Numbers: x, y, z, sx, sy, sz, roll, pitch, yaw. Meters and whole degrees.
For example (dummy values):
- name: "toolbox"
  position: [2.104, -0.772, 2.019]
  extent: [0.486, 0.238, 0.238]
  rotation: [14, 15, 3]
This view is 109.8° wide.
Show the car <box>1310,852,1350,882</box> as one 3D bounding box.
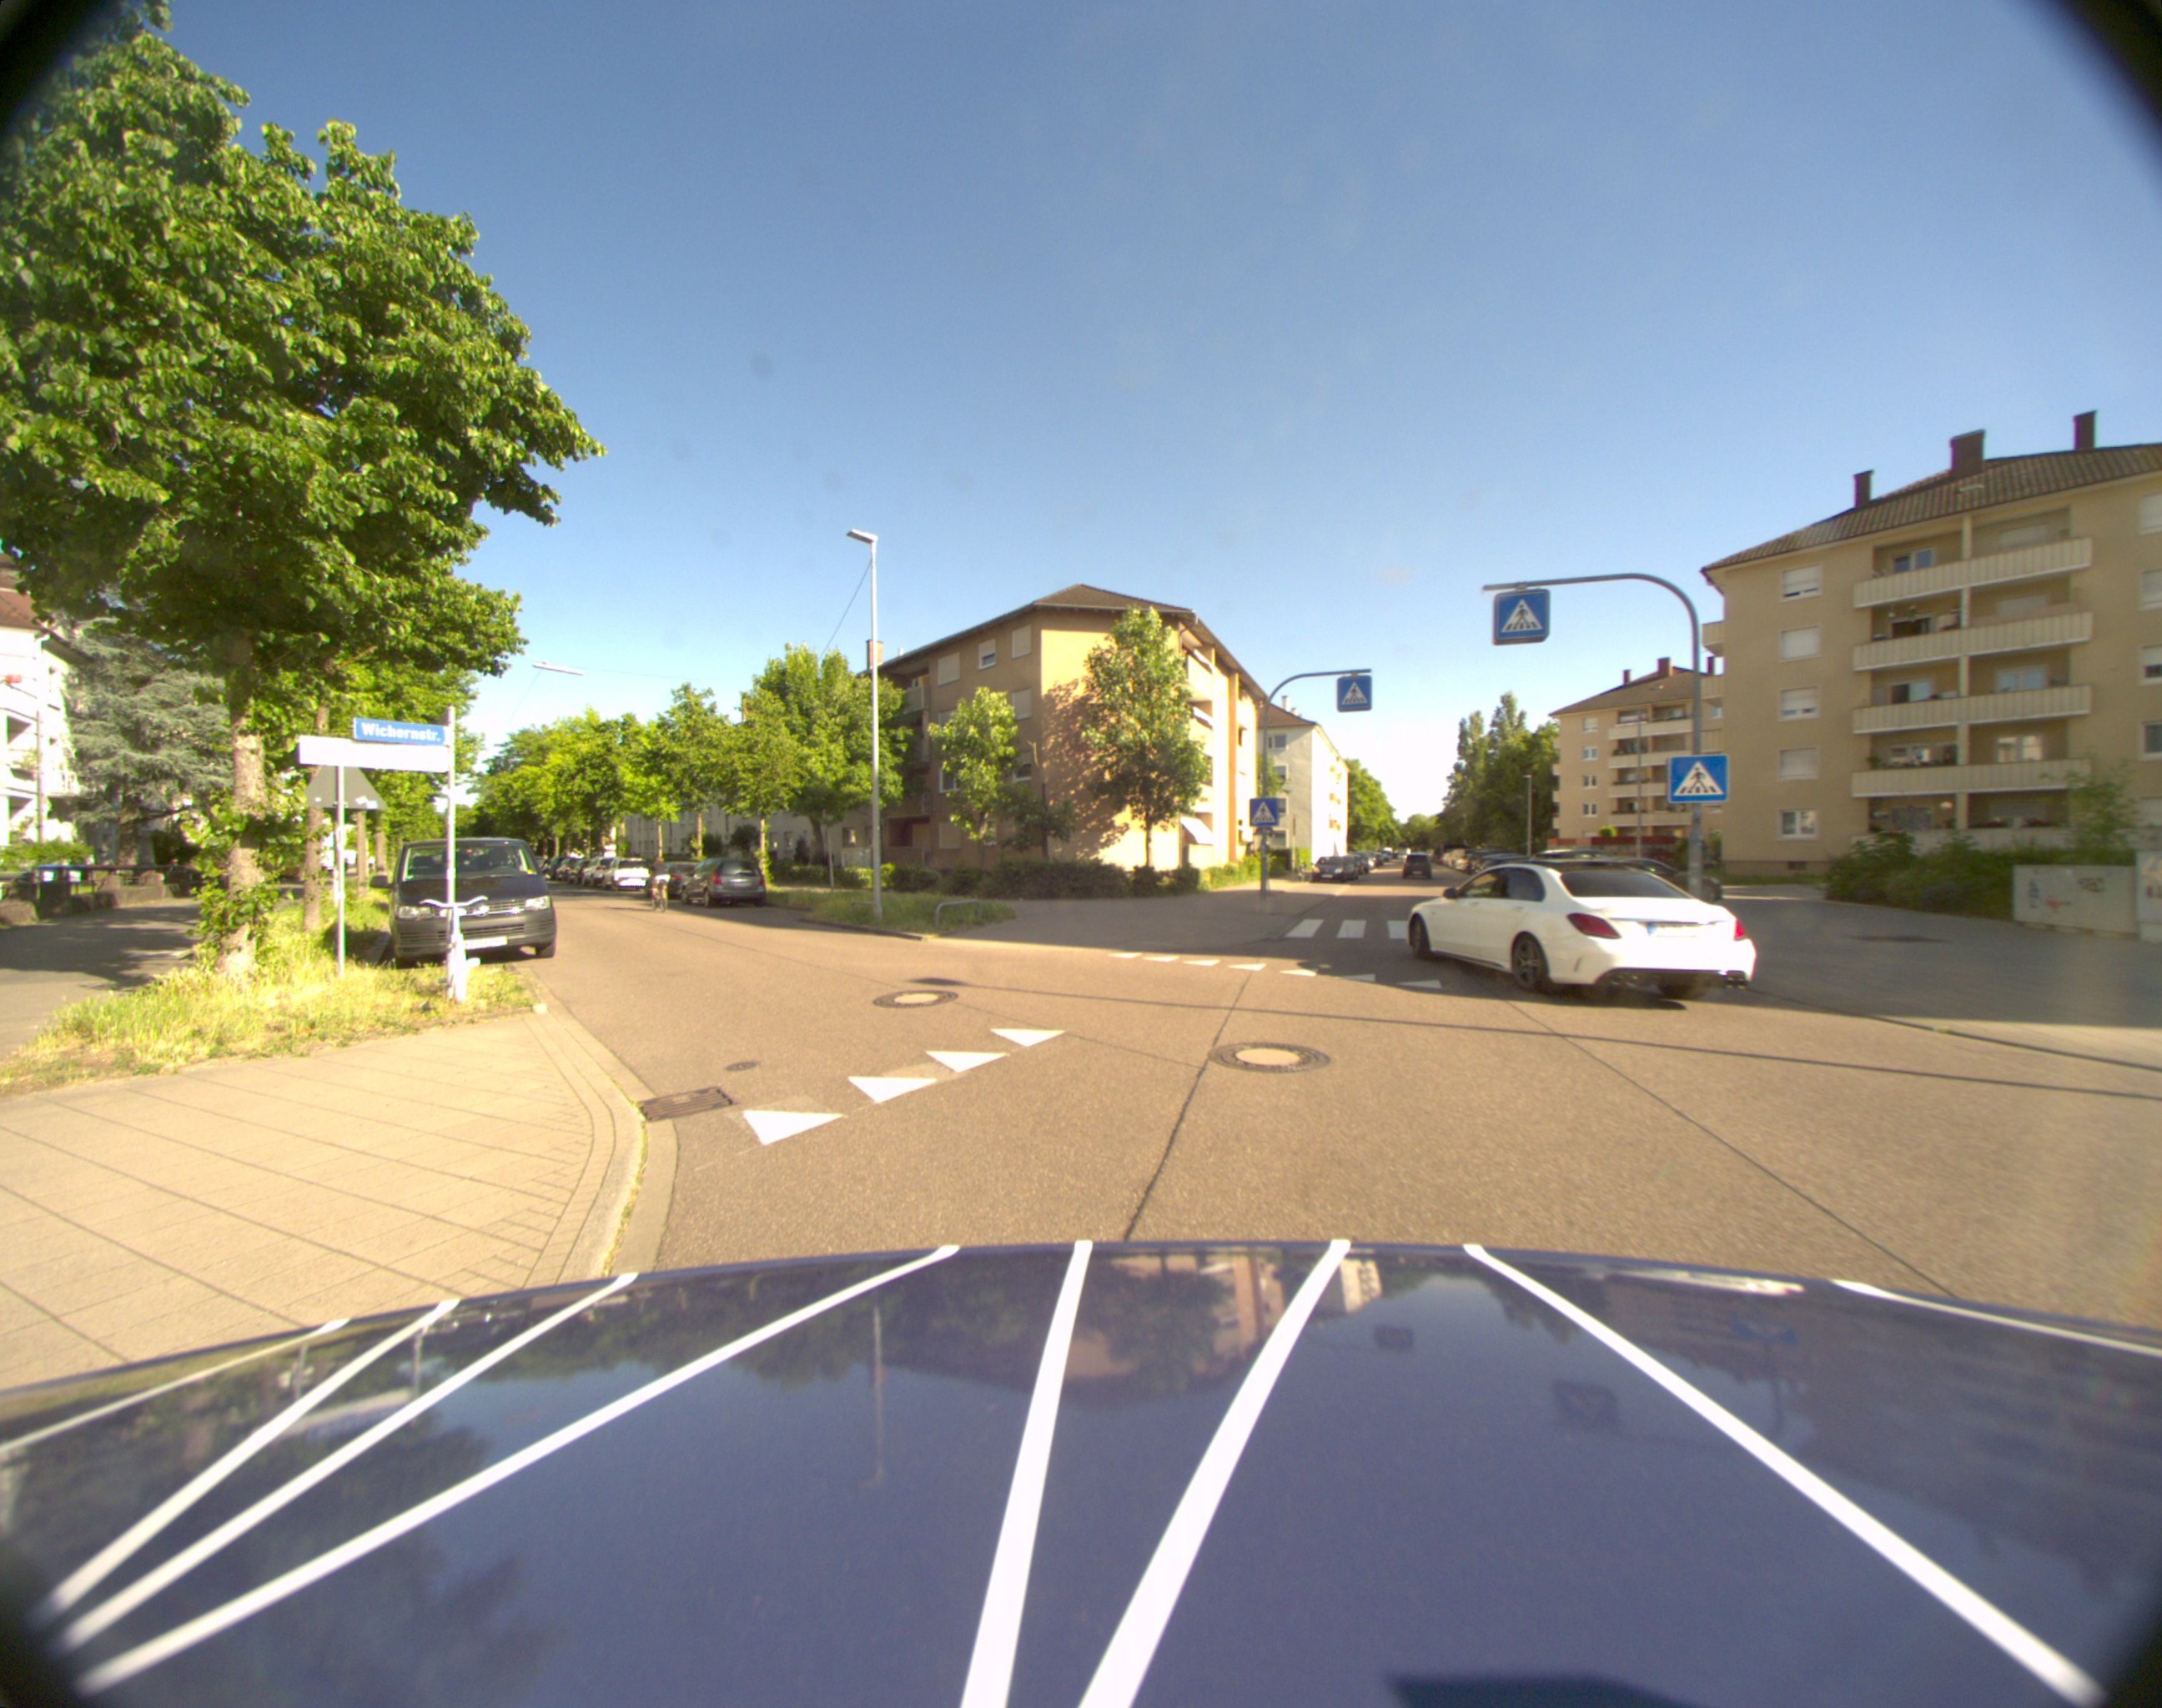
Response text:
- name: "car"
  position: [13.318, 0.638, 40.846]
  extent: [1.905, 1.506, 4.005]
  rotation: [1, 1, 16]

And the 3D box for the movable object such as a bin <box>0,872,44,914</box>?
- name: "movable object such as a bin"
  position: [-23.945, 0.865, 16.859]
  extent: [0.779, 0.858, 1.007]
  rotation: [-3, 3, -36]

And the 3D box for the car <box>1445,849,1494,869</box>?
- name: "car"
  position: [37.737, 0.475, 73.900]
  extent: [3.992, 1.828, 2.001]
  rotation: [-1, 3, 15]

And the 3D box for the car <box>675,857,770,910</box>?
- name: "car"
  position: [-11.919, 0.907, 25.123]
  extent: [1.729, 1.553, 4.096]
  rotation: [0, 1, -42]

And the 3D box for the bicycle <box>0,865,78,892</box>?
- name: "bicycle"
  position: [-36.816, 0.860, 26.489]
  extent: [2.070, 0.765, 0.624]
  rotation: [-6, 5, -41]

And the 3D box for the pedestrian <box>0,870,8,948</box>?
- name: "pedestrian"
  position: [-18.372, 0.941, 12.201]
  extent: [1.087, 1.288, 0.816]
  rotation: [-4, 4, -42]

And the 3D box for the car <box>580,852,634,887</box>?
- name: "car"
  position: [-25.053, 0.771, 40.123]
  extent: [1.712, 1.670, 4.211]
  rotation: [0, 1, -42]

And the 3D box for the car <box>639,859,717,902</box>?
- name: "car"
  position: [-15.632, 0.980, 29.396]
  extent: [1.668, 1.387, 4.079]
  rotation: [-4, 3, -42]

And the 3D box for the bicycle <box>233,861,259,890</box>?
- name: "bicycle"
  position: [-36.811, 0.933, 33.520]
  extent: [0.491, 1.190, 2.169]
  rotation: [-4, 4, -42]

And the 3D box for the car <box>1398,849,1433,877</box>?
- name: "car"
  position: [21.105, 0.560, 48.112]
  extent: [1.739, 1.522, 4.118]
  rotation: [-1, 3, 20]

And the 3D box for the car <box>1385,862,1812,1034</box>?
- name: "car"
  position: [5.649, 0.888, 9.235]
  extent: [1.890, 1.495, 4.637]
  rotation: [2, 0, -2]

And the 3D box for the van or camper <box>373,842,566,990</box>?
- name: "van or camper"
  position: [-10.173, 0.772, 12.577]
  extent: [1.999, 1.853, 5.371]
  rotation: [-4, 3, -41]

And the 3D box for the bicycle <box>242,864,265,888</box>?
- name: "bicycle"
  position: [-38.553, 0.998, 35.400]
  extent: [0.434, 1.007, 2.242]
  rotation: [-9, 7, -43]

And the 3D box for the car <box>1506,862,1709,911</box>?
- name: "car"
  position: [14.902, 0.899, 21.650]
  extent: [4.563, 1.160, 1.999]
  rotation: [-2, 0, -6]

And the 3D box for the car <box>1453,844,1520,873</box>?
- name: "car"
  position: [30.826, 0.307, 57.878]
  extent: [3.996, 2.003, 2.000]
  rotation: [-1, 3, 4]

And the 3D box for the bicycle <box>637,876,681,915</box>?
- name: "bicycle"
  position: [-12.072, 1.168, 21.732]
  extent: [1.913, 1.006, 0.551]
  rotation: [1, 3, 44]

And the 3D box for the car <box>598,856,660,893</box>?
- name: "car"
  position: [-21.577, 0.920, 36.187]
  extent: [1.725, 1.518, 3.988]
  rotation: [-4, 3, -42]

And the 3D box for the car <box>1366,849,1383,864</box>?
- name: "car"
  position: [36.337, 0.341, 94.026]
  extent: [1.995, 1.685, 4.005]
  rotation: [0, 2, 21]

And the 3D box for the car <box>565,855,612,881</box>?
- name: "car"
  position: [-28.913, 0.790, 44.520]
  extent: [1.666, 1.384, 4.224]
  rotation: [-1, 1, -42]

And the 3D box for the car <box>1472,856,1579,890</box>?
- name: "car"
  position: [21.208, 0.886, 36.374]
  extent: [3.997, 1.394, 1.999]
  rotation: [-2, 3, -1]

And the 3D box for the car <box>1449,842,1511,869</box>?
- name: "car"
  position: [32.328, 0.109, 61.673]
  extent: [3.996, 2.003, 1.999]
  rotation: [-1, 3, 2]

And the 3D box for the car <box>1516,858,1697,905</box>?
- name: "car"
  position: [16.701, 0.845, 24.283]
  extent: [4.563, 1.423, 1.999]
  rotation: [0, 0, -6]

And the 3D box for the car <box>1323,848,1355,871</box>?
- name: "car"
  position: [18.934, 0.394, 55.738]
  extent: [1.996, 1.456, 4.005]
  rotation: [-2, 1, 21]

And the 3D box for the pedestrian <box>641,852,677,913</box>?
- name: "pedestrian"
  position: [-12.028, 0.788, 21.665]
  extent: [0.693, 1.631, 1.043]
  rotation: [-4, 3, -36]

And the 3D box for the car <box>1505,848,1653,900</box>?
- name: "car"
  position: [17.470, 0.669, 26.763]
  extent: [4.000, 1.642, 1.998]
  rotation: [-2, 0, -8]

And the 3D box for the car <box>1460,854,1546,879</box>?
- name: "car"
  position: [24.954, 0.722, 45.019]
  extent: [3.996, 1.303, 2.000]
  rotation: [-1, 2, 2]

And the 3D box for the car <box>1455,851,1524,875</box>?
- name: "car"
  position: [29.775, 0.649, 55.511]
  extent: [3.994, 1.631, 2.001]
  rotation: [-1, 3, 9]

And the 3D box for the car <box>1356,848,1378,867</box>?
- name: "car"
  position: [28.173, 0.291, 74.745]
  extent: [1.995, 1.685, 4.005]
  rotation: [0, 2, 21]

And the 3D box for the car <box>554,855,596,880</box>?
- name: "car"
  position: [-32.060, 0.835, 48.118]
  extent: [1.658, 1.436, 3.955]
  rotation: [0, 1, -42]

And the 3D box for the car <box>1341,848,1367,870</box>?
- name: "car"
  position: [21.881, 0.368, 60.809]
  extent: [1.842, 1.747, 4.006]
  rotation: [1, 1, 20]

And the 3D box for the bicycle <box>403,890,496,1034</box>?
- name: "bicycle"
  position: [-6.482, 1.024, 7.761]
  extent: [0.531, 1.187, 2.024]
  rotation: [-2, 2, -45]

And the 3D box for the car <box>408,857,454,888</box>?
- name: "car"
  position: [-34.684, 0.931, 40.489]
  extent: [1.613, 1.456, 3.860]
  rotation: [-4, 3, -43]

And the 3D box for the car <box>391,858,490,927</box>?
- name: "car"
  position: [-18.063, 0.971, 21.483]
  extent: [1.908, 1.604, 4.958]
  rotation: [-2, 2, -40]

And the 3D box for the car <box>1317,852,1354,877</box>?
- name: "car"
  position: [15.343, 0.627, 45.782]
  extent: [1.996, 1.237, 4.004]
  rotation: [-1, 3, 19]

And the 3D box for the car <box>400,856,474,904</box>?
- name: "car"
  position: [-23.805, 0.899, 28.099]
  extent: [1.940, 1.558, 4.580]
  rotation: [1, 0, -41]

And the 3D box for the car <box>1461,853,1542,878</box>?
- name: "car"
  position: [26.465, 0.699, 47.872]
  extent: [3.998, 1.248, 1.998]
  rotation: [-3, 3, -3]
